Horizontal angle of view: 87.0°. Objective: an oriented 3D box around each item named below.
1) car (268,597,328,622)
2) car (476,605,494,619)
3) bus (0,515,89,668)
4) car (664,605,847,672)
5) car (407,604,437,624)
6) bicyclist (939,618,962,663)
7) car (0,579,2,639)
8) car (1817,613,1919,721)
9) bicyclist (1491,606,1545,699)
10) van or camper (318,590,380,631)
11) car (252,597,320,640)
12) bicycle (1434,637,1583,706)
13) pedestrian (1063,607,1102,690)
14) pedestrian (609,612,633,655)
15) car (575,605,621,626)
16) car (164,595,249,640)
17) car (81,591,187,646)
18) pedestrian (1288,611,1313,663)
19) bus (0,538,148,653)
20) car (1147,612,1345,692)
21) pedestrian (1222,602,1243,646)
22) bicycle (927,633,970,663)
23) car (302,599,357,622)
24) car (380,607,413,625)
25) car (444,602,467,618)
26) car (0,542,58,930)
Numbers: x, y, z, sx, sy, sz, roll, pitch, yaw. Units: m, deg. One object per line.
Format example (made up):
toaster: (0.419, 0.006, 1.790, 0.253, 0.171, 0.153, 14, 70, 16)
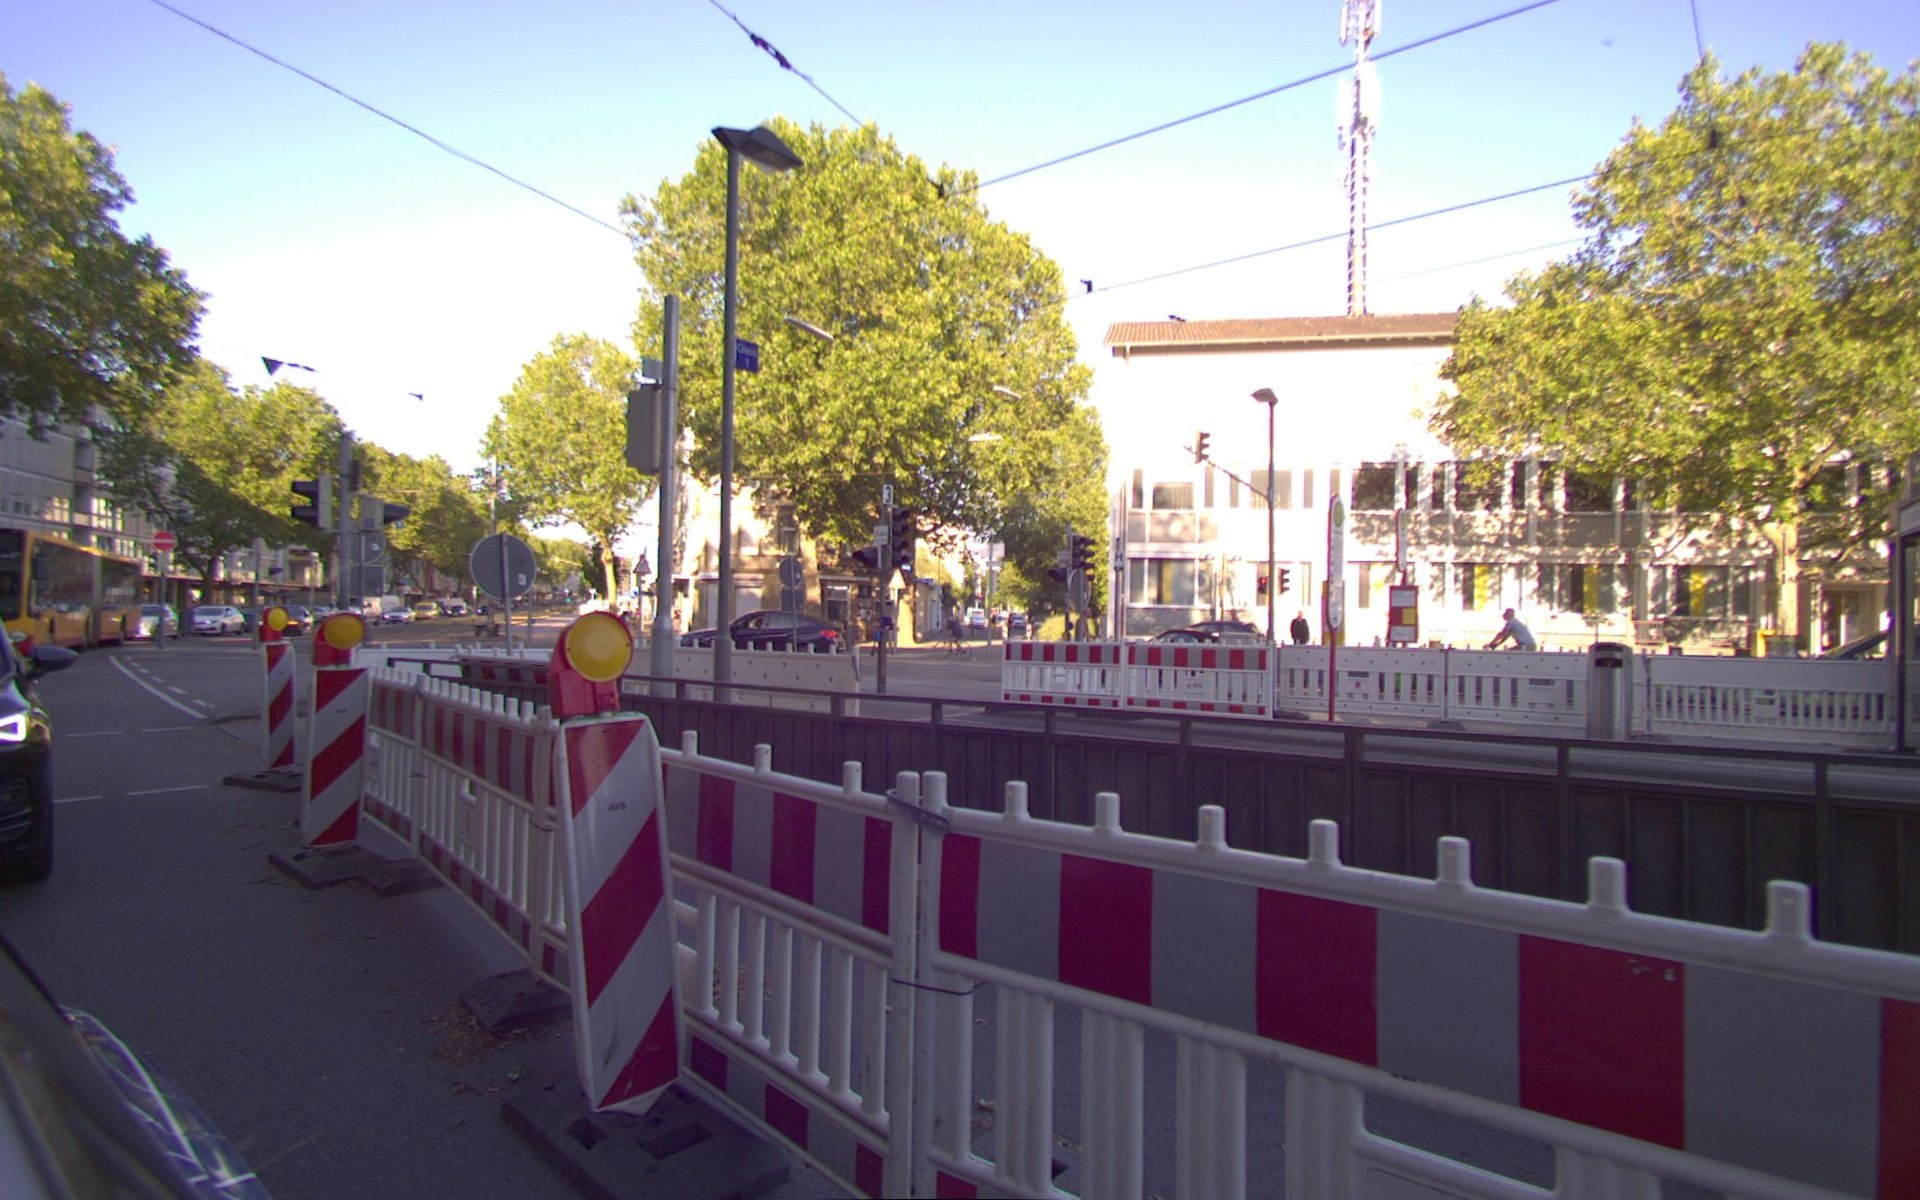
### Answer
car: (-55.354, 0.785, 84.677, 3.938, 2.029, 2.003, 2, -2, -42)
car: (-66.290, 1.688, 141.359, 1.810, 1.816, 4.143, 1, -1, -18)
bus: (-22.829, -0.162, 23.840, 2.678, 3.130, 8.642, 2, -1, -36)
car: (-5.403, 1.008, 27.156, 4.495, 1.674, 2.000, 1, -1, 0)
car: (-51.117, 1.339, 96.245, 1.810, 1.816, 4.143, 1, -1, -18)
bicyclist: (-0.345, 1.462, 36.840, 0.643, 1.626, 0.544, 0, -2, 41)
car: (-12.854, 0.577, 11.884, 4.074, 1.655, 1.972, 0, -2, 42)
car: (16.279, 1.073, 16.045, 3.994, 1.674, 1.895, 0, -1, 38)
bicyclist: (10.746, 0.987, 19.497, 0.833, 1.741, 0.726, 0, -2, 37)
van or camper: (-43.954, 0.775, 72.948, 2.385, 2.739, 6.151, 1, -1, -17)
car: (-32.989, 0.897, 49.638, 1.965, 2.029, 4.013, 1, -1, -22)
bicycle: (10.572, 1.351, 19.573, 2.475, 1.217, 0.683, 0, -2, 36)
pedestrian: (2.650, 1.041, 21.881, 0.545, 1.760, 0.693, 1, -1, -24)
pedestrian: (-12.278, 1.199, 36.677, 0.594, 1.545, 0.746, 2, -2, -37)
car: (-35.425, 1.547, 99.187, 1.991, 2.029, 3.962, 0, -1, 28)
car: (-36.432, 0.853, 49.047, 1.966, 2.029, 4.012, 1, -1, -16)
car: (-32.433, 0.736, 39.888, 1.965, 2.029, 4.111, 1, -1, -21)
pedestrian: (10.443, 1.132, 31.009, 0.649, 1.564, 0.563, 0, -1, 29)
bus: (-27.773, -0.074, 31.421, 2.676, 3.130, 8.623, 2, -1, -30)
car: (6.620, 1.138, 23.596, 3.995, 1.674, 1.974, 0, -1, 39)
pedestrian: (9.312, 0.810, 34.590, 0.582, 1.466, 0.581, 0, -1, 26)
bicycle: (-0.419, 1.739, 36.894, 1.621, 1.073, 0.543, 0, -2, 42)
car: (-56.977, 0.947, 91.524, 3.938, 2.029, 2.003, 2, -2, -42)
car: (-47.076, 1.354, 84.585, 1.675, 1.481, 3.776, 1, -1, -18)
car: (-58.391, 1.214, 117.158, 1.810, 1.816, 4.143, 1, -1, -18)
car: (-6.225, 0.589, 5.267, 3.999, 1.719, 1.817, 0, -2, 42)
